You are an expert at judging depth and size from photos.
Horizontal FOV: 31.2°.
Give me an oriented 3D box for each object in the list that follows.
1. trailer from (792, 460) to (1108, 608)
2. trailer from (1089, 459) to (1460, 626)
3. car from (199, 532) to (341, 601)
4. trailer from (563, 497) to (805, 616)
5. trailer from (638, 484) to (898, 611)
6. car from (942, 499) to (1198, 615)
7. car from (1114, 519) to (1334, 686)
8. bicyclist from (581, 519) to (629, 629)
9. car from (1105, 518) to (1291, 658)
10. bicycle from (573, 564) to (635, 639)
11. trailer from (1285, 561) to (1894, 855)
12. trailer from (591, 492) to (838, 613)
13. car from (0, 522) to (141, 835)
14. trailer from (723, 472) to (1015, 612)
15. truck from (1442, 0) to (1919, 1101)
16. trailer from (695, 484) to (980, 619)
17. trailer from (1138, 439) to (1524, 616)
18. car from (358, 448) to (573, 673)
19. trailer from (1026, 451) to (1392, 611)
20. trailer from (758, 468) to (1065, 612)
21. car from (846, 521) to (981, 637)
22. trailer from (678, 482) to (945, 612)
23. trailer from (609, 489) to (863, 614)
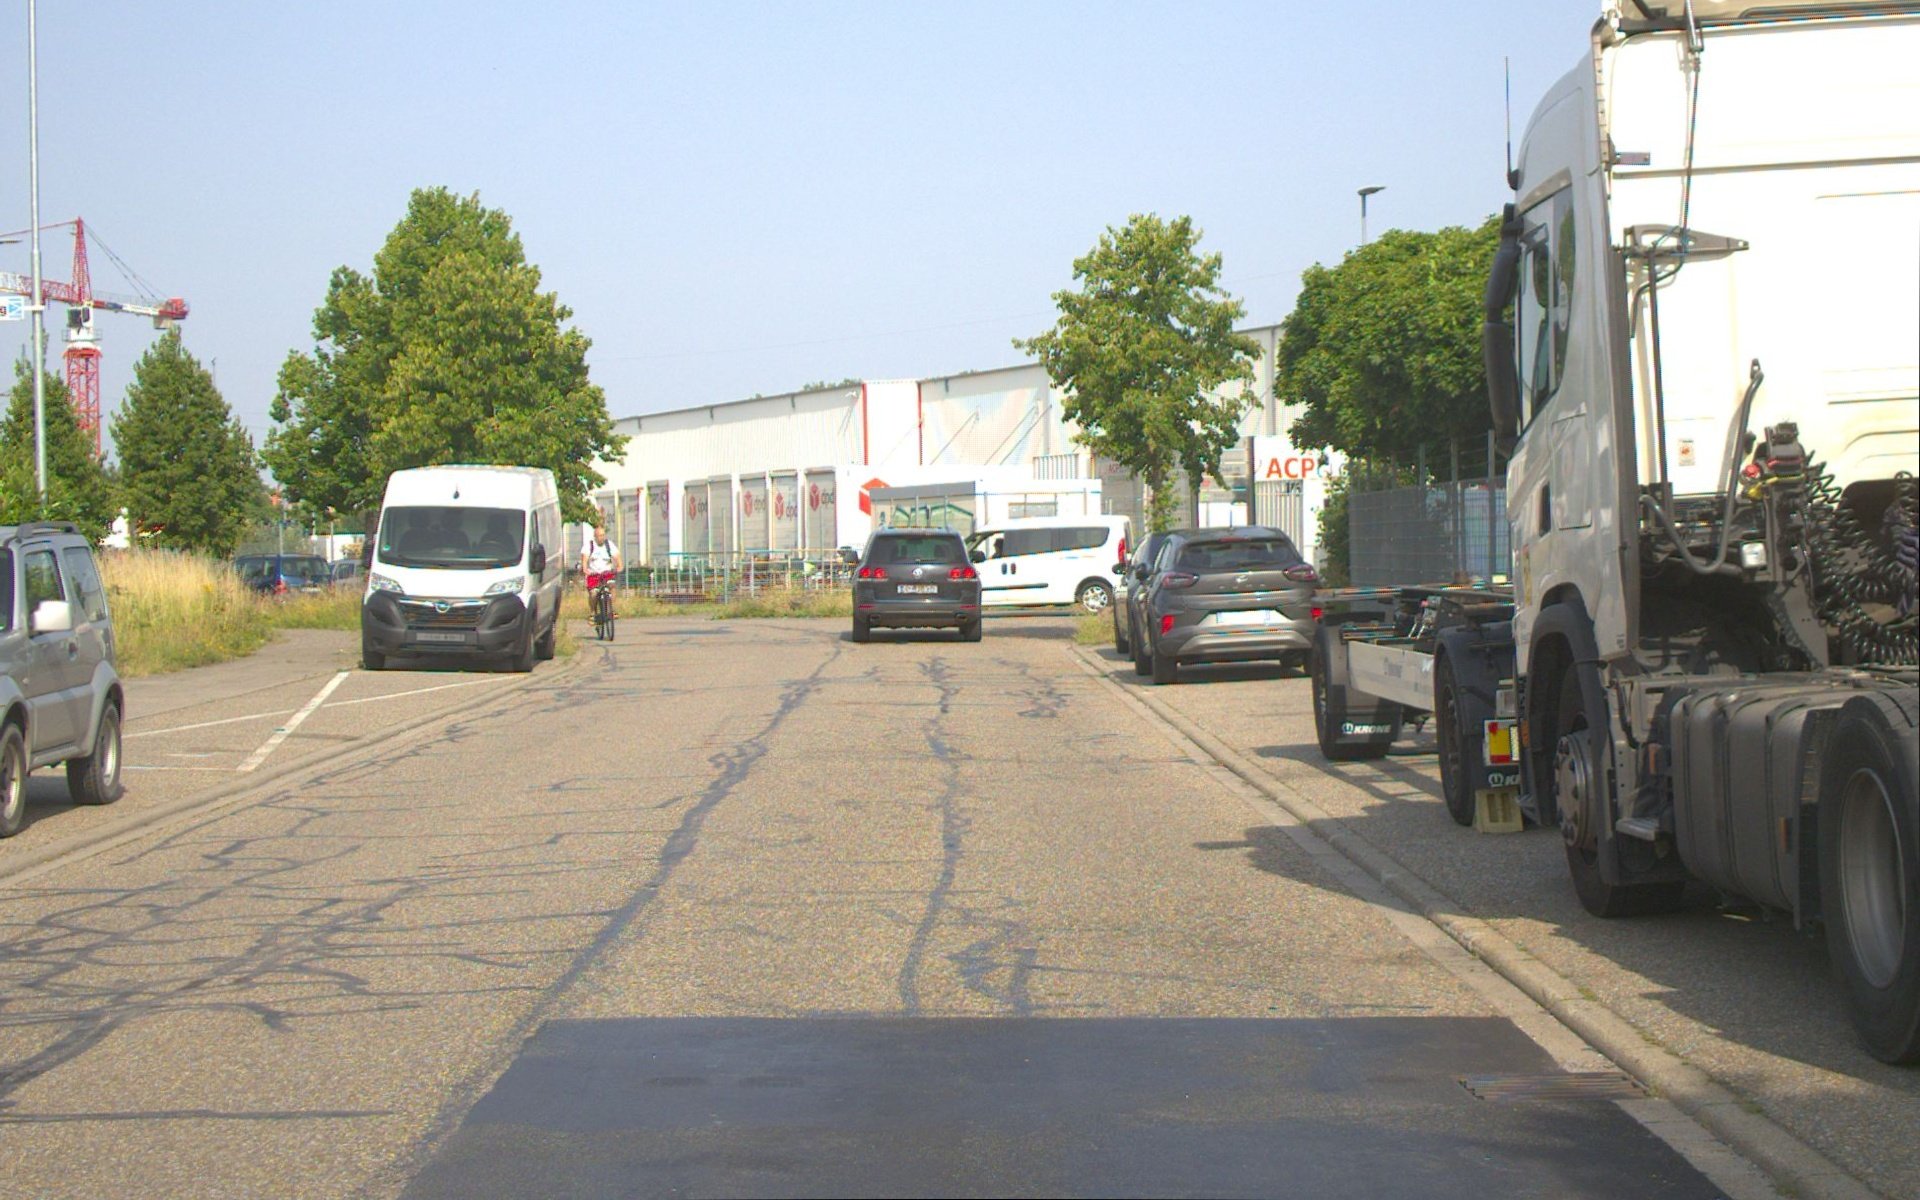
[{"bbox_3d":[-0.273,-1.861,98.712,8.533,3.880,2.776,2,0,-24],"label":"trailer"},{"bbox_3d":[7.568,-1.404,82.533,8.534,3.880,2.776,-1,1,-22],"label":"trailer"},{"bbox_3d":[-16.288,-0.775,81.002,1.969,1.568,4.113,0,0,-32],"label":"car"},{"bbox_3d":[-9.789,-1.534,122.042,7.960,3.880,2.776,2,0,-24],"label":"trailer"},{"bbox_3d":[-6.341,-1.712,113.764,7.960,3.880,2.776,2,0,-24],"label":"trailer"},{"bbox_3d":[2.068,-0.785,63.876,4.610,2.103,2.128,0,0,6],"label":"car"},{"bbox_3d":[2.651,0.022,35.355,1.880,1.568,4.113,-1,0,0],"label":"car"},{"bbox_3d":[-5.609,-0.415,54.371,0.639,1.713,1.165,0,1,0],"label":"bicyclist"},{"bbox_3d":[2.865,-0.143,42.332,1.880,1.568,5.118,-2,0,0],"label":"car"},{"bbox_3d":[-5.605,0.009,54.246,0.716,1.118,2.219,-3,1,0],"label":"bicycle"},{"bbox_3d":[3.187,0.445,19.209,1.938,1.231,7.452,-2,1,0],"label":"trailer"},{"bbox_3d":[-8.523,-1.643,119.343,7.960,3.880,2.776,2,0,-24],"label":"trailer"},{"bbox_3d":[-5.861,0.390,19.460,1.597,1.645,3.644,0,1,0],"label":"car"},{"bbox_3d":[-2.757,-1.728,104.405,8.305,3.880,2.776,2,0,-24],"label":"trailer"},{"bbox_3d":[3.546,-0.820,11.356,2.691,3.951,6.048,-3,1,-2],"label":"truck"},{"bbox_3d":[-3.813,-1.489,107.293,8.305,3.880,2.776,2,0,-24],"label":"trailer"},{"bbox_3d":[8.610,-1.614,79.753,8.533,3.881,2.776,0,-2,-21],"label":"trailer"},{"bbox_3d":[-6.241,-0.509,44.110,2.102,2.586,6.505,2,1,-3],"label":"car"},{"bbox_3d":[6.208,-1.649,85.238,8.729,3.748,2.791,1,0,-24],"label":"trailer"},{"bbox_3d":[-1.411,-1.752,101.715,8.533,3.880,2.776,2,0,-24],"label":"trailer"},{"bbox_3d":[-0.682,-0.305,51.548,1.880,1.581,4.113,3,0,0],"label":"car"},{"bbox_3d":[-4.793,-1.699,111.185,8.031,3.880,2.776,2,0,-24],"label":"trailer"},{"bbox_3d":[-7.580,-1.630,116.520,7.960,3.880,2.776,2,0,-24],"label":"trailer"}]
